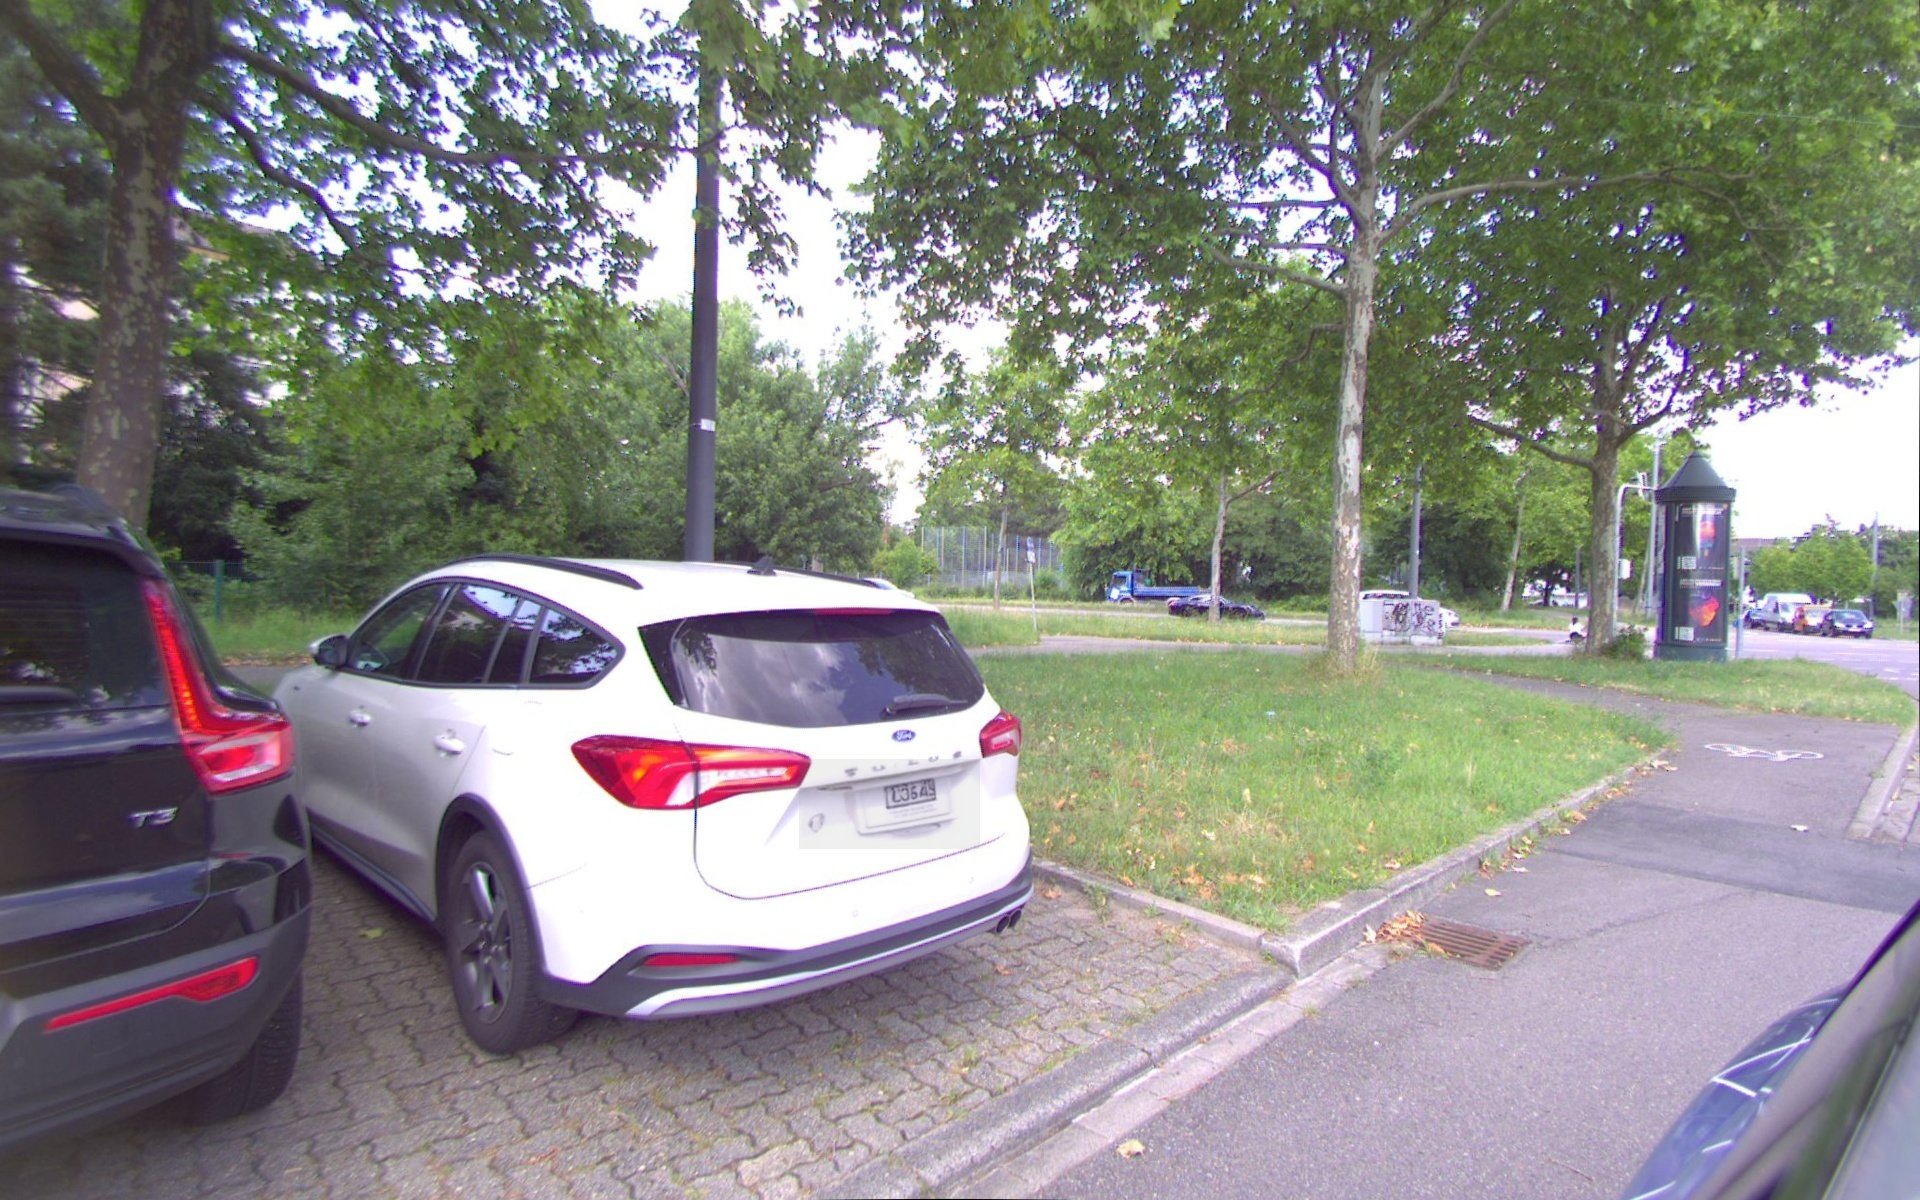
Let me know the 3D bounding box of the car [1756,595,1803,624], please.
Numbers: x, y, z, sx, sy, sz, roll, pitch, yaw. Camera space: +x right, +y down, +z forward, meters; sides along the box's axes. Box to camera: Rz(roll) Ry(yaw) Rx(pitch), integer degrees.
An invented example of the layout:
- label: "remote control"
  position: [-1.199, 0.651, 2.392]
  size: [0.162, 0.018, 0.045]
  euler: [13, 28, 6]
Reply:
- label: "car"
  position: [58.918, 0.631, 72.801]
  size: [1.780, 1.959, 4.326]
  euler: [1, 1, 28]

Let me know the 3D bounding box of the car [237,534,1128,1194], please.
- label: "car"
  position: [-1.706, 0.502, 4.605]
  size: [4.661, 1.492, 1.818]
  euler: [4, 2, 45]

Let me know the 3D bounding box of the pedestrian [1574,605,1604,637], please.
- label: "pedestrian"
  position: [21.595, 0.701, 34.754]
  size: [0.720, 1.047, 0.888]
  euler: [2, 1, 42]

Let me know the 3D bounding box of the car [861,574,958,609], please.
- label: "car"
  position: [-2.612, -0.488, 52.157]
  size: [4.645, 1.630, 1.980]
  euler: [2, 2, 29]

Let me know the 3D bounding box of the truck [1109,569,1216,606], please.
- label: "truck"
  position: [12.019, -0.775, 60.328]
  size: [5.813, 2.038, 2.266]
  euler: [2, 1, 33]

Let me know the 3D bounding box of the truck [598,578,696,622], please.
- label: "truck"
  position: [-20.418, -0.041, 65.905]
  size: [6.452, 2.628, 2.194]
  euler: [2, 1, 29]

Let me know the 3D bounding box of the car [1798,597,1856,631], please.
- label: "car"
  position: [53.148, 0.828, 62.098]
  size: [1.780, 1.959, 4.325]
  euler: [1, 1, 29]

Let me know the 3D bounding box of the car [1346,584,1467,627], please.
- label: "car"
  position: [19.274, 0.196, 43.675]
  size: [4.644, 1.630, 1.981]
  euler: [2, 2, 28]

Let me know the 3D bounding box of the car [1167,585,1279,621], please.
- label: "car"
  position: [12.197, 0.103, 47.017]
  size: [4.706, 1.487, 1.981]
  euler: [2, 2, 28]

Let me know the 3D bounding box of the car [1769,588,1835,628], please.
- label: "car"
  position: [56.279, 0.506, 67.771]
  size: [2.219, 2.538, 5.670]
  euler: [1, 1, 28]

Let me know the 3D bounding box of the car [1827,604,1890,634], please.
- label: "car"
  position: [50.316, 1.035, 56.760]
  size: [1.781, 1.558, 3.959]
  euler: [1, 1, 29]

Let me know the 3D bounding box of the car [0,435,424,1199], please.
- label: "car"
  position: [-3.427, 0.434, 3.124]
  size: [4.661, 1.646, 1.818]
  euler: [4, 2, 45]
